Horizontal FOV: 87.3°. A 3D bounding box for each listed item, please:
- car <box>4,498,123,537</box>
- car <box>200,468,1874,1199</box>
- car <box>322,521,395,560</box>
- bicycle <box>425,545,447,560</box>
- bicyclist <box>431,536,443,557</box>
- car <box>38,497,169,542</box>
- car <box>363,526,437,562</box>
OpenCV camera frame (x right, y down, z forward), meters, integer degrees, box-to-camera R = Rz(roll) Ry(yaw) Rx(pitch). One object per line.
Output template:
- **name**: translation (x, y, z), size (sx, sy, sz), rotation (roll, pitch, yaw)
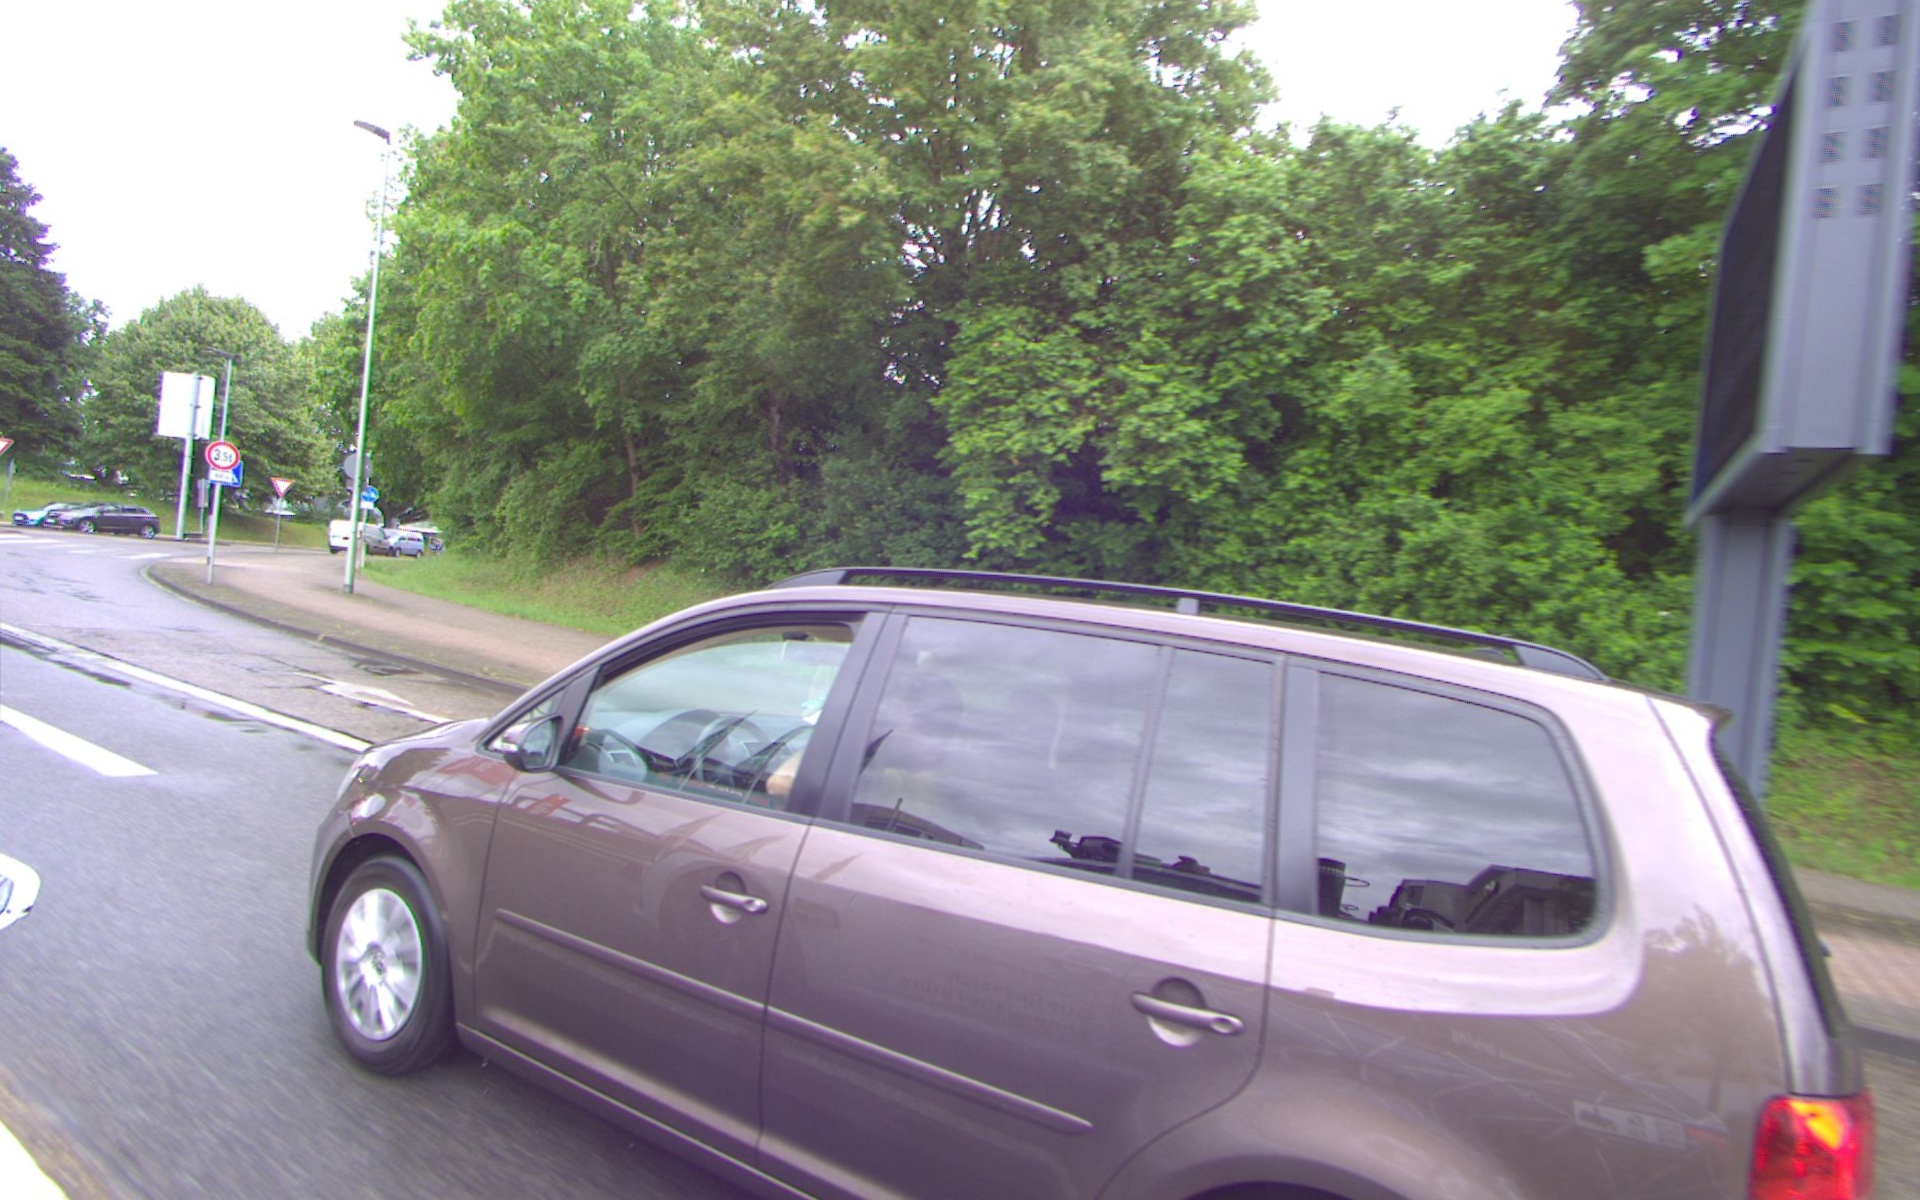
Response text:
- **car**: translation (-42.945, -3.921, 48.296), size (1.578, 1.310, 4.000), rotation (8, 1, 13)
- **car**: translation (-0.258, 0.680, 3.069), size (4.060, 1.615, 1.717), rotation (8, 0, 30)
- **car**: translation (-33.508, -3.265, 56.180), size (1.788, 1.729, 3.941), rotation (8, 0, -5)
- **bicycle**: translation (-39.831, -3.614, 76.530), size (0.568, 0.964, 1.750), rotation (7, 0, 3)
- **bicyclist**: translation (-39.785, -4.066, 76.530), size (0.446, 1.507, 0.562), rotation (7, 1, 3)
- **car**: translation (-39.991, -3.728, 47.116), size (1.864, 1.485, 4.332), rotation (7, 0, 12)
- **car**: translation (-38.028, -3.773, 68.447), size (1.865, 1.874, 4.744), rotation (8, 0, 4)
